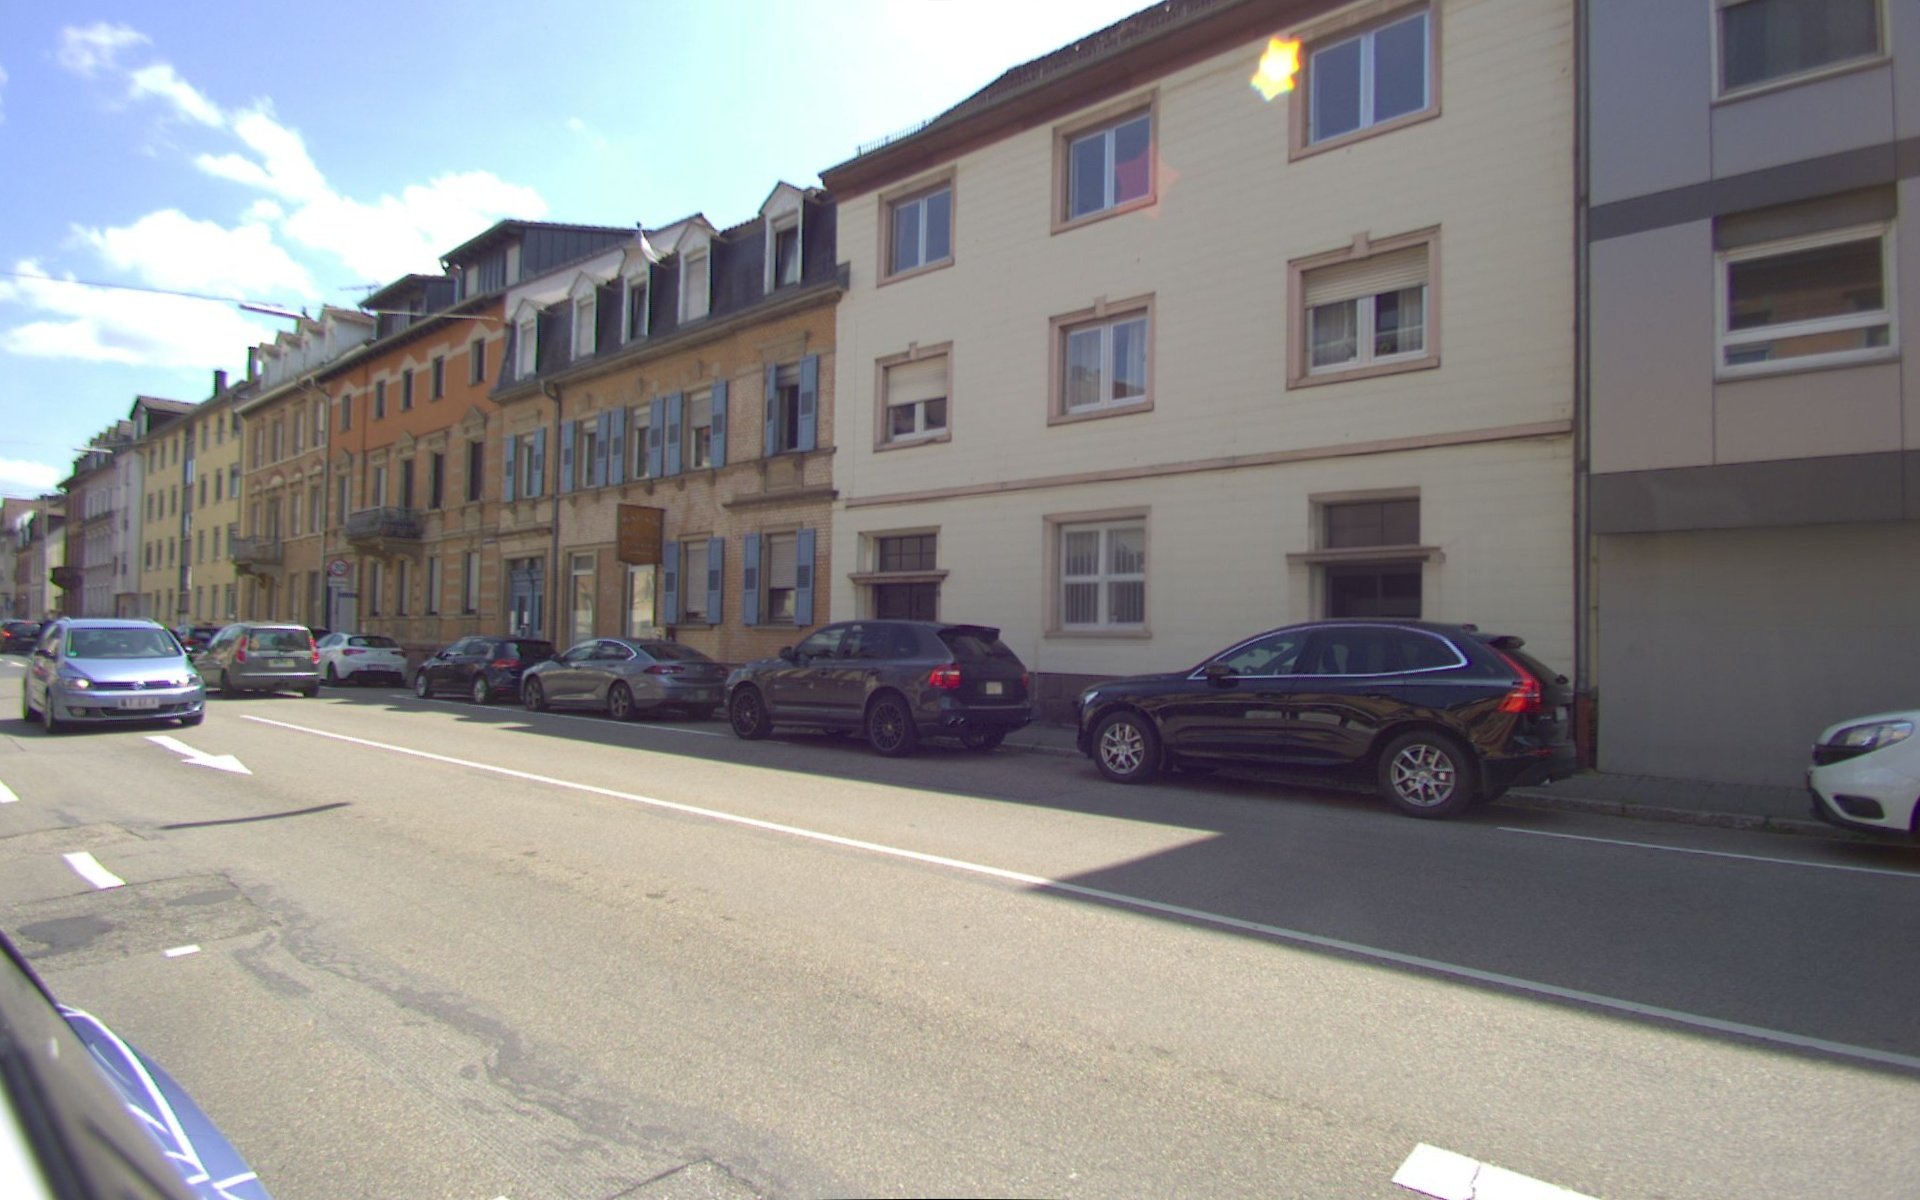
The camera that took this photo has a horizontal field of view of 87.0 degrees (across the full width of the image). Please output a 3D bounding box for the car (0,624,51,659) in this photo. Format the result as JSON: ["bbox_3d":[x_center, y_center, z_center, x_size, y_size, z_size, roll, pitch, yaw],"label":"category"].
[{"bbox_3d":[-42.924,1.886,45.996,4.242,1.506,1.742,-1,-4,40],"label":"car"}]

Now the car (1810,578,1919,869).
[{"bbox_3d":[8.157,0.814,5.935,4.784,1.839,1.894,-1,-4,40],"label":"car"}]

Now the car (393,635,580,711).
[{"bbox_3d":[-10.399,1.578,22.098,4.324,1.417,1.847,-1,-6,38],"label":"car"}]

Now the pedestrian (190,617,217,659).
[{"bbox_3d":[-32.964,1.653,44.083,0.793,1.769,0.877,3,-4,-41],"label":"pedestrian"}]

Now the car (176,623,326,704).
[{"bbox_3d":[-15.577,1.344,22.151,4.310,1.587,1.683,-2,-4,42],"label":"car"}]

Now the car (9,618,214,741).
[{"bbox_3d":[-12.669,1.088,15.038,3.998,1.580,1.736,-2,-3,41],"label":"car"}]

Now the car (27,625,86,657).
[{"bbox_3d":[-50.109,2.305,56.186,1.721,1.600,3.963,6,-6,-33],"label":"car"}]

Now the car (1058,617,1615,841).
[{"bbox_3d":[3.408,1.044,9.719,4.658,1.653,1.866,-1,-4,40],"label":"car"}]

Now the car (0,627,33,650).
[{"bbox_3d":[-67.728,2.724,72.118,4.099,1.421,1.728,-1,-6,38],"label":"car"}]

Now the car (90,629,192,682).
[{"bbox_3d":[-24.797,1.647,30.595,4.132,1.489,1.683,-2,-4,42],"label":"car"}]

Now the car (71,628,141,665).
[{"bbox_3d":[-41.286,2.229,48.900,4.311,1.563,1.845,-1,-7,41],"label":"car"}]

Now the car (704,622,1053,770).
[{"bbox_3d":[-1.246,1.172,13.676,4.816,1.653,1.865,-1,-4,42],"label":"car"}]

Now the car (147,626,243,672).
[{"bbox_3d":[-29.319,1.859,38.727,4.496,1.563,1.846,-1,-6,40],"label":"car"}]

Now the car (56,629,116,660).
[{"bbox_3d":[-45.028,2.278,52.119,3.914,1.421,1.726,-1,-7,42],"label":"car"}]

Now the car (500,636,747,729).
[{"bbox_3d":[-6.192,1.457,18.367,4.831,1.417,1.847,-1,-6,38],"label":"car"}]

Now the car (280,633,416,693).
[{"bbox_3d":[-16.802,1.708,27.720,4.328,1.437,1.845,-1,-7,41],"label":"car"}]
